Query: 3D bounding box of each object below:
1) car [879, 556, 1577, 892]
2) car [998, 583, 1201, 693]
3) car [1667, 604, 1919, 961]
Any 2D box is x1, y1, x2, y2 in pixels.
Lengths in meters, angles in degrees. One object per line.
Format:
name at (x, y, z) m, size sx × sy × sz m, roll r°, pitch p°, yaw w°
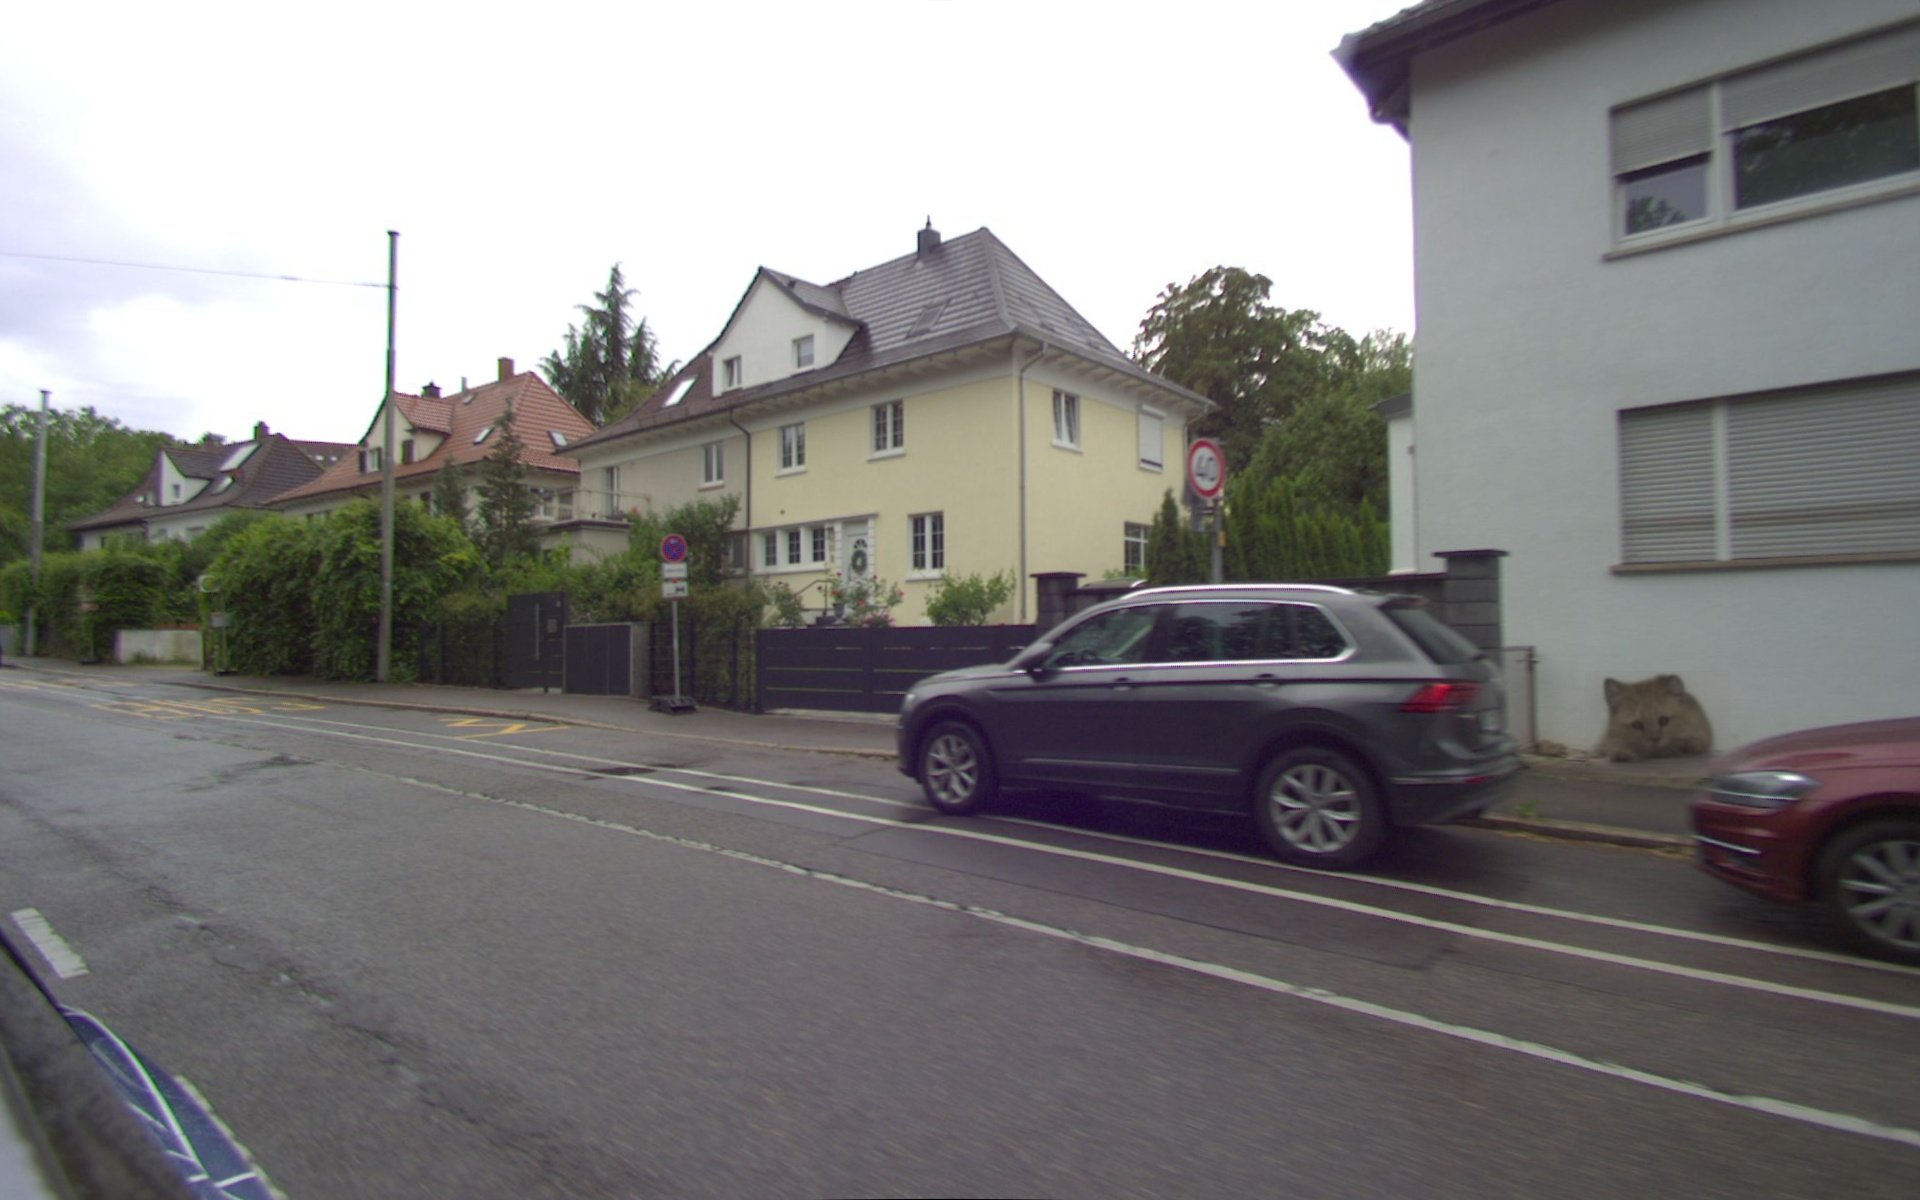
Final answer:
car at (1.652, 0.707, 7.094) m, size 4.398 × 1.671 × 1.738 m, roll -2°, pitch -4°, yaw 38°
car at (2.502, 0.542, 17.364) m, size 1.732 × 1.608 × 3.950 m, roll 0°, pitch 2°, yaw 38°
car at (5.380, 0.714, 3.828) m, size 4.230 × 1.451 × 1.598 m, roll -2°, pitch -2°, yaw 43°
